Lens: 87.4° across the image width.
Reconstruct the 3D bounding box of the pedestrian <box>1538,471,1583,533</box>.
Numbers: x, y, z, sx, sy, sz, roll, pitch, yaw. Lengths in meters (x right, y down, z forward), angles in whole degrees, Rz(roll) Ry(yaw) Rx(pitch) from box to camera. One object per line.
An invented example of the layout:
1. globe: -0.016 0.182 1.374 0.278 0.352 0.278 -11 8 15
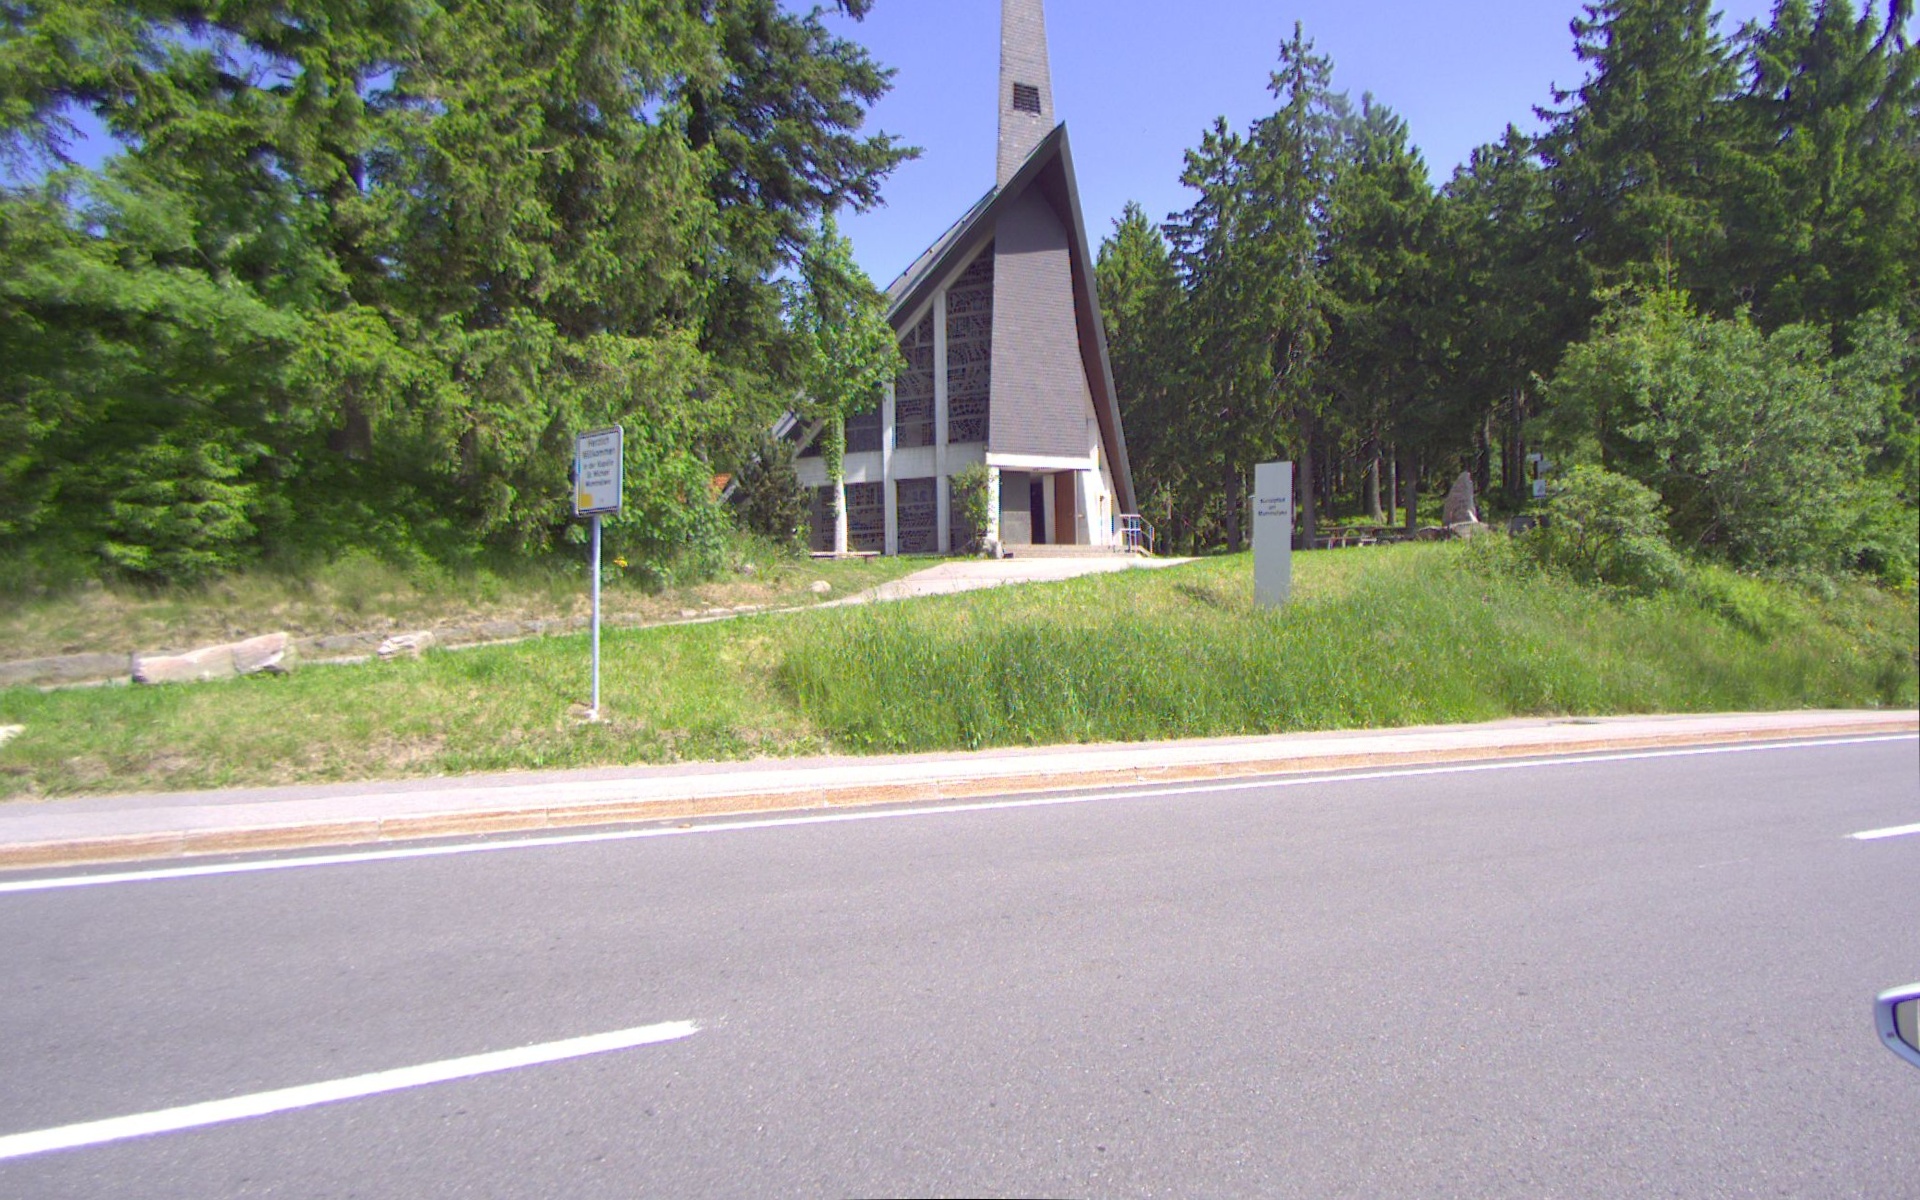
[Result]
1. pedestrian: 16.854 -2.735 28.201 0.733 1.651 0.805 1 0 -29
